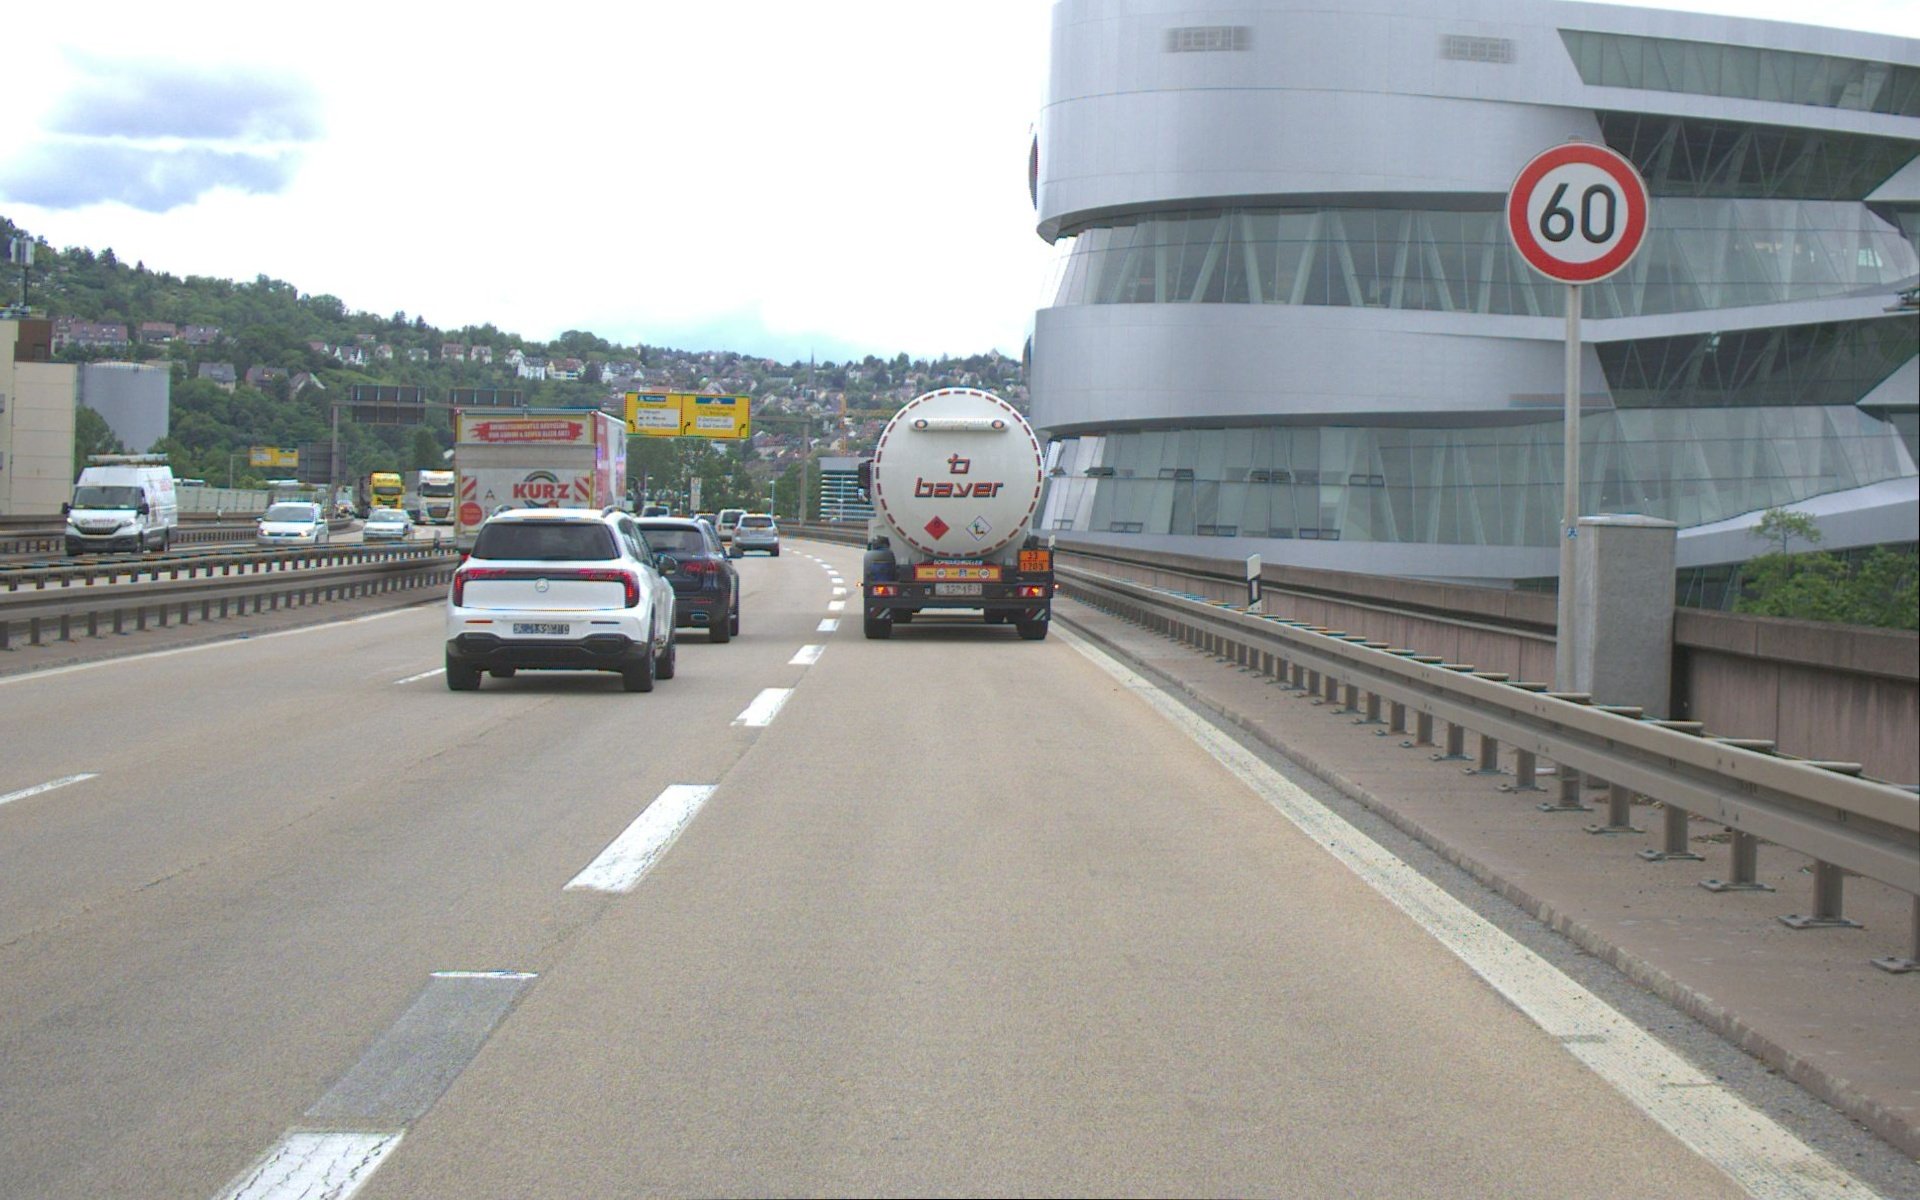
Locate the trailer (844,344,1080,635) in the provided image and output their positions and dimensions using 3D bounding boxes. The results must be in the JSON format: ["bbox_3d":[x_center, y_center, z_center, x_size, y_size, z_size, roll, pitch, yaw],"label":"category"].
[{"bbox_3d":[0.024,-1.515,49.329,3.057,3.777,8.304,1,1,0],"label":"trailer"}]

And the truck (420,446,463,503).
[{"bbox_3d":[-38.259,-9.240,253.744,2.771,4.065,5.647,1,1,-5],"label":"truck"}]

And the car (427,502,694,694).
[{"bbox_3d":[-3.700,-0.049,32.564,1.993,1.669,4.408,1,1,0],"label":"car"}]

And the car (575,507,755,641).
[{"bbox_3d":[-3.868,-0.362,45.755,1.993,1.669,4.408,1,1,0],"label":"car"}]

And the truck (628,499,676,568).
[{"bbox_3d":[-20.741,-4.464,231.184,3.056,4.546,8.305,1,1,-6],"label":"truck"}]

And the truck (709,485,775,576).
[{"bbox_3d":[-11.289,-3.552,177.457,3.056,4.546,8.305,1,1,-6],"label":"truck"}]

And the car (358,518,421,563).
[{"bbox_3d":[-22.097,-2.299,133.311,1.683,1.644,4.448,2,1,0],"label":"car"}]

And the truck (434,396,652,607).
[{"bbox_3d":[-7.728,-1.795,64.752,3.057,3.678,8.304,1,1,0],"label":"truck"}]

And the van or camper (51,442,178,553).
[{"bbox_3d":[-23.968,-2.882,97.698,2.171,2.998,7.119,1,1,-3],"label":"van or camper"}]

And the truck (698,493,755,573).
[{"bbox_3d":[-13.758,-3.938,201.977,3.056,4.546,8.305,1,1,-6],"label":"truck"}]

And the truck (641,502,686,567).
[{"bbox_3d":[-21.450,-4.713,248.361,3.056,4.546,8.305,1,1,-6],"label":"truck"}]

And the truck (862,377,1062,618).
[{"bbox_3d":[0.021,-1.606,55.616,3.014,3.644,6.273,1,1,0],"label":"truck"}]

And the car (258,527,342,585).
[{"bbox_3d":[-19.903,-1.325,103.827,1.683,1.644,4.313,2,1,0],"label":"car"}]

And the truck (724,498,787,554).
[{"bbox_3d":[-8.115,-2.924,136.890,2.255,2.156,5.069,1,1,-1],"label":"truck"}]
